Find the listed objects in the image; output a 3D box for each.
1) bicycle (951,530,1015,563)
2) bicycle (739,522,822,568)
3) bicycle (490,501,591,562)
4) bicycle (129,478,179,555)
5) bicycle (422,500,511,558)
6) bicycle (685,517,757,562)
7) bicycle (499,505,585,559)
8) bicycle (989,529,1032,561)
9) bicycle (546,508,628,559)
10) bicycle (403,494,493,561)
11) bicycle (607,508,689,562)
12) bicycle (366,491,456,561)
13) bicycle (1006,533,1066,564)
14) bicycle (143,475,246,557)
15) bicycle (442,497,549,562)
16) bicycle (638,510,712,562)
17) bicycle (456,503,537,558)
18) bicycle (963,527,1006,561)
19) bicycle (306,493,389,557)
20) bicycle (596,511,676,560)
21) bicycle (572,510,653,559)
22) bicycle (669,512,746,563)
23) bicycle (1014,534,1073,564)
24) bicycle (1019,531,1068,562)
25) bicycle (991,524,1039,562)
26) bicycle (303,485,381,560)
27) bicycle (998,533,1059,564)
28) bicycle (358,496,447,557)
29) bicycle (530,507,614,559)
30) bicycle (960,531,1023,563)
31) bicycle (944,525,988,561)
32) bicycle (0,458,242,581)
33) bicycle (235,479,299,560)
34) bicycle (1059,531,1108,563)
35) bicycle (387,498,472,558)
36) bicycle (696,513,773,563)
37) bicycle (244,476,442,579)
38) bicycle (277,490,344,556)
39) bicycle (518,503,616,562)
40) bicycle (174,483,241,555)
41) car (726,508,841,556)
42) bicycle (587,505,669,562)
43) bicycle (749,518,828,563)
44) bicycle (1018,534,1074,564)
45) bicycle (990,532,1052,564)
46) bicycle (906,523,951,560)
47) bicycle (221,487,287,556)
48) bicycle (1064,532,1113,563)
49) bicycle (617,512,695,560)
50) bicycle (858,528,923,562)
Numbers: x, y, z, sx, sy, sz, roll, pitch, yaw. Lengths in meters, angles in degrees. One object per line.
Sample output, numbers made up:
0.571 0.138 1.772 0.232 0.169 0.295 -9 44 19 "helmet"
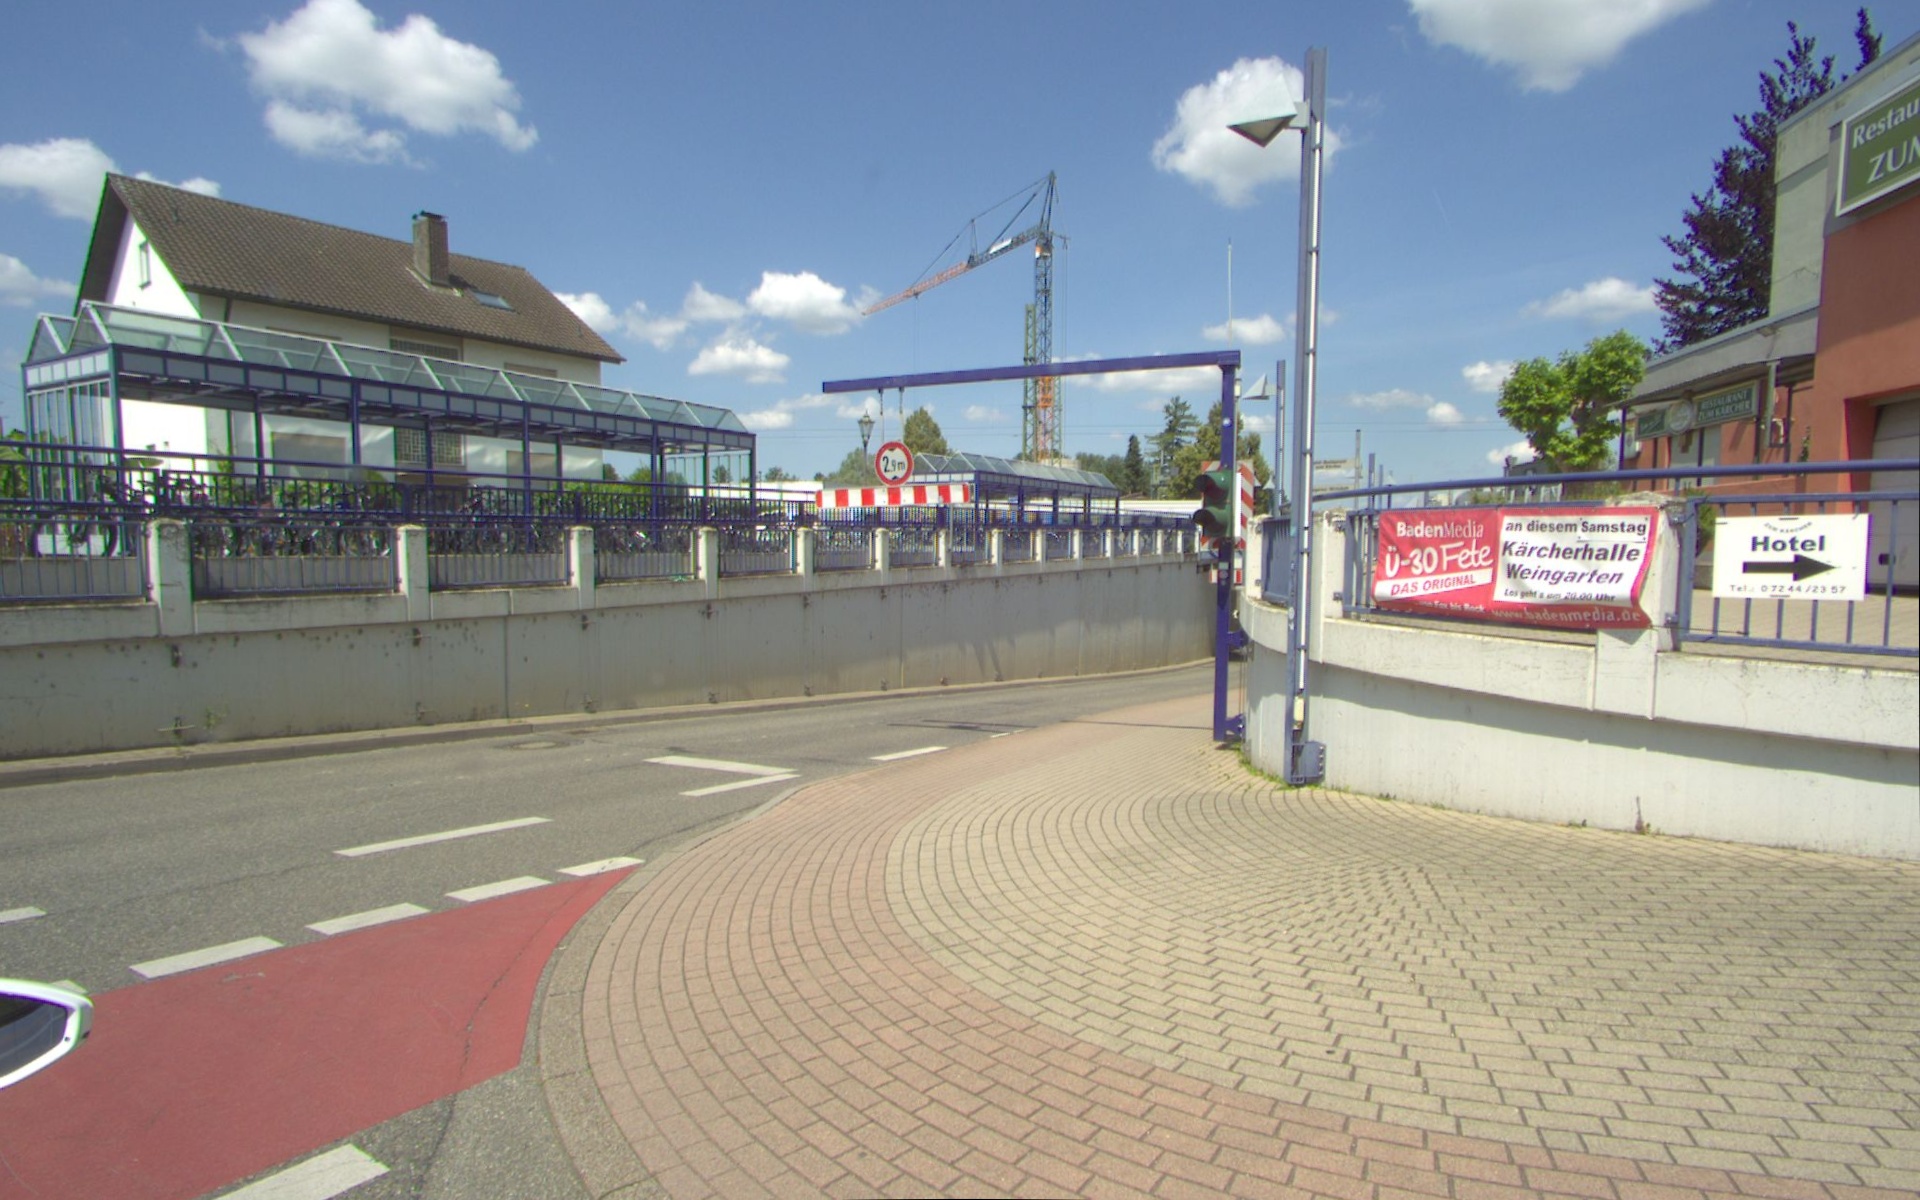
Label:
0.714 -1.668 31.230 1.994 1.009 0.435 2 3 29 "bicycle"
-4.173 -1.277 23.182 2.130 1.009 0.435 2 3 31 "bicycle"
-7.337 -1.192 17.477 2.157 1.009 0.531 3 3 34 "bicycle"
-11.357 -1.150 14.090 0.452 1.009 1.870 -2 4 -41 "bicycle"
-9.071 -1.292 18.392 1.936 1.009 0.517 2 3 32 "bicycle"
-5.675 -1.423 23.711 2.012 1.009 0.541 3 4 38 "bicycle"
-8.144 -1.322 19.485 1.936 1.009 0.517 2 3 32 "bicycle"
1.832 -2.004 36.470 1.576 1.174 0.384 2 3 30 "bicycle"
-7.741 -1.368 20.764 1.936 1.009 0.517 2 3 32 "bicycle"
-8.179 -1.142 15.951 2.253 1.009 0.433 3 4 40 "bicycle"
-6.107 -1.259 19.563 2.013 1.009 0.513 3 4 39 "bicycle"
-8.512 -1.128 15.473 2.253 1.009 0.433 3 4 40 "bicycle"
2.574 -1.758 34.126 1.994 1.009 0.509 2 3 29 "bicycle"
-10.047 -1.089 13.122 2.044 1.009 0.331 2 3 31 "bicycle"
-7.693 -1.159 16.547 2.249 1.009 0.531 3 3 34 "bicycle"
-5.768 -1.279 20.177 2.017 1.009 0.512 3 4 45 "bicycle"
-8.820 -1.314 19.030 1.775 1.009 0.517 3 3 32 "bicycle"
0.853 -1.970 35.259 1.581 1.174 0.383 3 4 40 "bicycle"
-10.247 -1.241 16.729 1.938 1.009 0.424 3 4 35 "bicycle"
-7.050 -1.398 21.745 1.936 1.009 0.517 2 3 32 "bicycle"
-7.384 -1.383 21.261 1.936 1.009 0.517 2 3 32 "bicycle"
-5.245 -1.293 20.717 2.015 1.009 0.513 3 4 41 "bicycle"
2.861 -1.769 34.501 1.994 1.009 0.509 2 3 29 "bicycle"
3.192 -2.065 38.465 1.795 1.174 0.509 2 3 30 "bicycle"
1.765 -1.834 32.321 1.581 1.174 0.426 3 4 40 "bicycle"
-8.913 -1.090 14.404 2.078 1.009 0.433 3 4 44 "bicycle"
2.300 -1.743 33.666 1.994 1.009 0.509 2 3 29 "bicycle"
-9.686 -1.259 17.372 1.936 1.009 0.472 2 3 32 "bicycle"
-7.821 -1.344 20.149 1.936 1.009 0.517 2 3 32 "bicycle"
0.996 -1.686 31.780 1.994 1.009 0.509 2 3 29 "bicycle"
0.206 -1.908 33.516 1.581 1.174 0.383 3 4 40 "bicycle"
-8.624 -0.781 10.241 0.328 1.141 2.110 3 3 30 "bicycle"
-9.323 -1.057 13.449 0.432 1.009 2.082 -2 4 -42 "bicycle"
4.710 -2.032 38.242 1.795 1.174 0.509 2 3 30 "bicycle"
-9.424 -1.271 17.770 1.936 1.009 0.413 2 3 32 "bicycle"
-4.848 -1.316 21.432 2.015 1.009 0.541 3 4 41 "bicycle"
-7.456 -0.844 12.226 0.386 1.141 2.110 3 3 30 "bicycle"
-10.465 -1.219 16.108 1.942 1.009 0.371 3 4 41 "bicycle"
-7.160 -1.218 18.183 2.157 1.009 0.531 3 3 34 "bicycle"
-11.099 -1.173 14.749 1.942 1.009 0.371 3 4 41 "bicycle"
-6.739 -2.569 38.208 3.936 1.701 1.991 2 3 28 "car"
-6.233 -1.227 18.742 0.575 1.009 2.165 -2 4 -44 "bicycle"
-3.974 -1.373 23.161 2.011 1.009 0.542 3 3 35 "bicycle"
3.003 -1.792 35.116 1.893 1.009 0.509 2 3 29 "bicycle"
2.008 -1.727 33.147 1.994 1.009 0.509 2 3 29 "bicycle"
-1.012 -1.869 32.093 1.581 1.174 0.383 3 4 40 "bicycle"
-11.019 -1.207 15.602 1.942 1.009 0.371 3 4 41 "bicycle"
4.970 -2.047 38.719 1.795 1.174 0.509 2 3 30 "bicycle"
-6.761 -1.413 22.213 1.936 1.009 0.517 2 3 32 "bicycle"
-2.123 -1.673 30.246 1.994 1.009 0.509 2 3 29 "bicycle"
